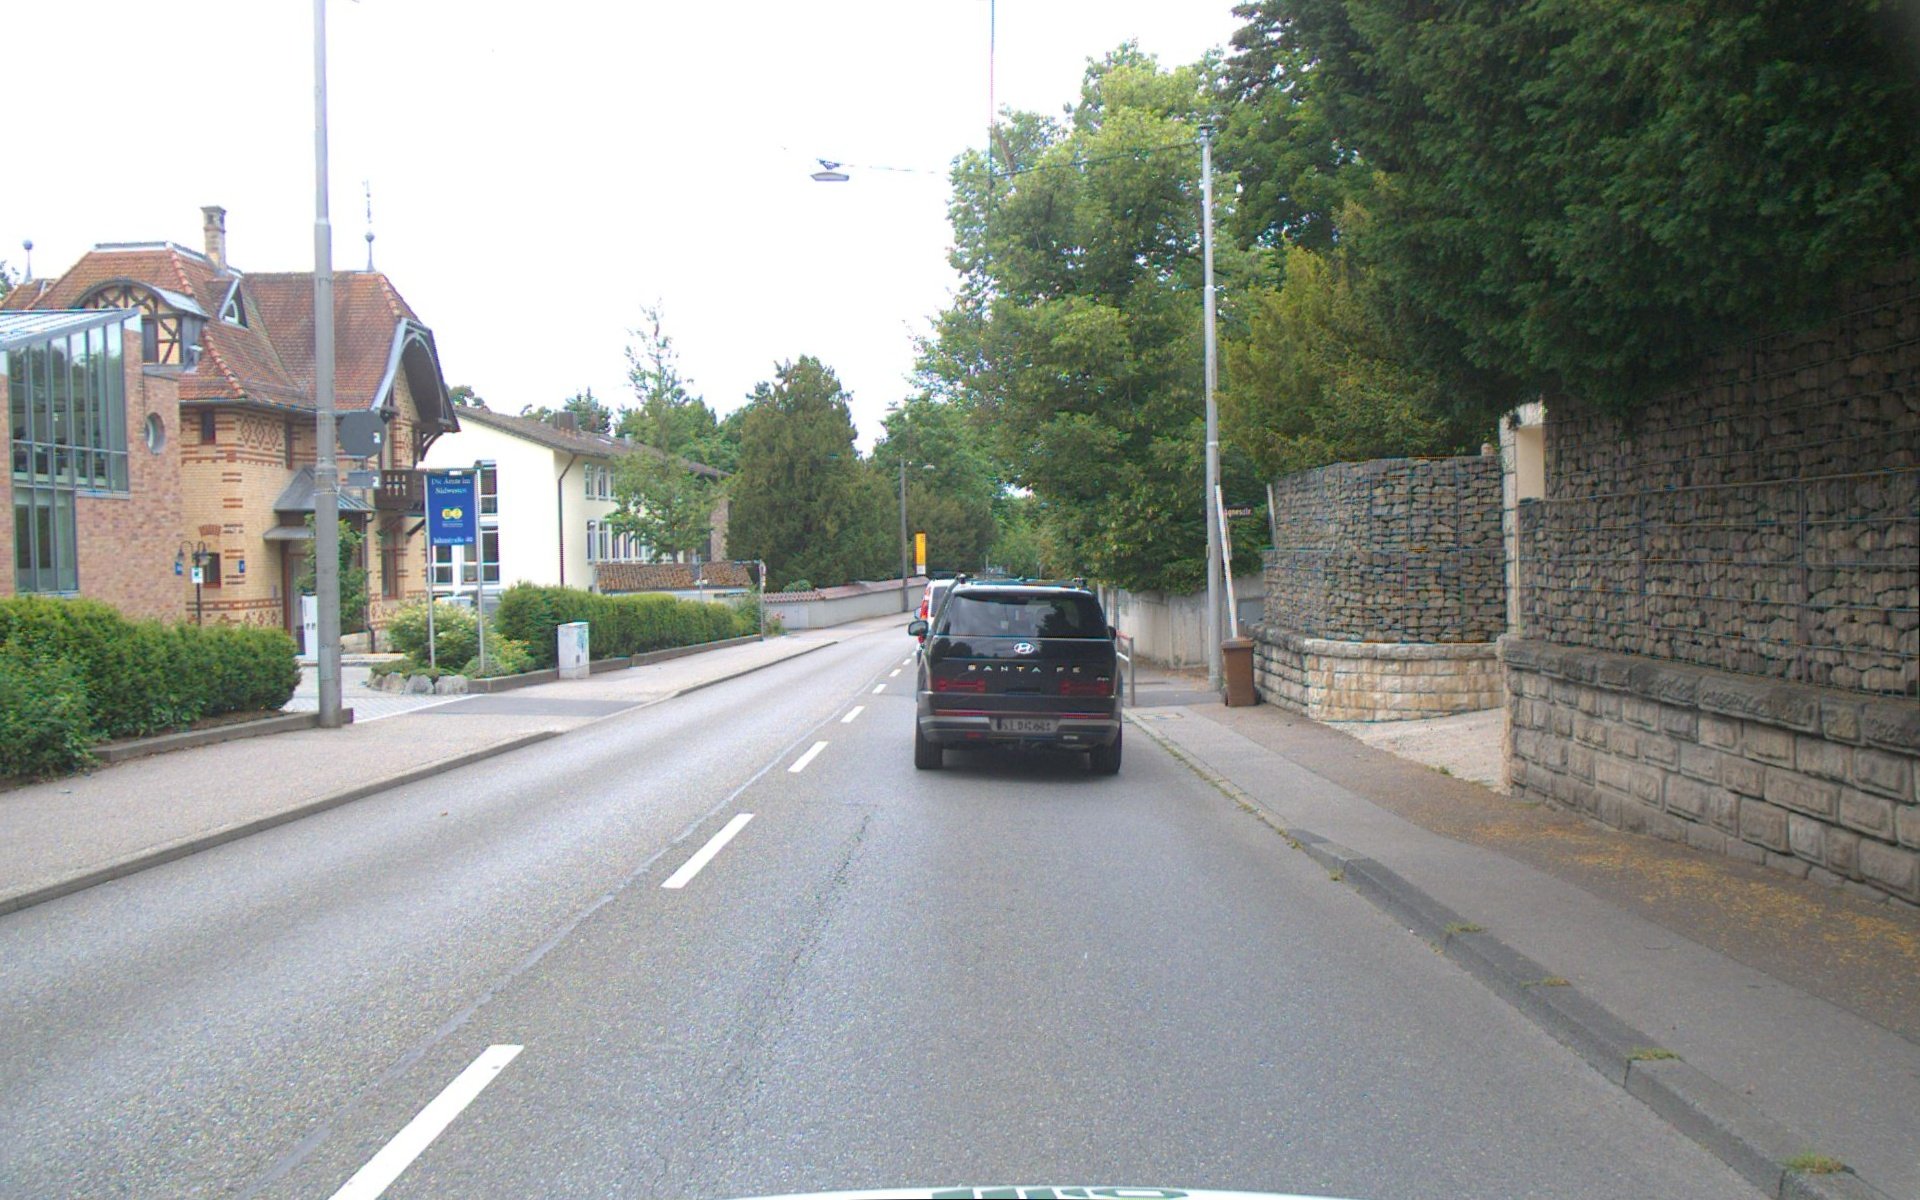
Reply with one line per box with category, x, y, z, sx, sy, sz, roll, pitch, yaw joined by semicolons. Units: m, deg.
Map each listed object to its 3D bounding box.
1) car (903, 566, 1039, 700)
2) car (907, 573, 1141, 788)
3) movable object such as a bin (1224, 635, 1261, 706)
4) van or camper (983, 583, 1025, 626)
car;0.101;0.482;28.173;1.919;1.989;4.220;1;2;-5
car;0.566;0.664;15.997;1.917;1.743;4.223;2;0;1
movable object such as a bin;3.840;0.953;22.496;0.435;0.925;0.394;-4;-1;9
van or camper;2.300;0.222;84.810;1.640;2.042;3.942;-1;2;8
